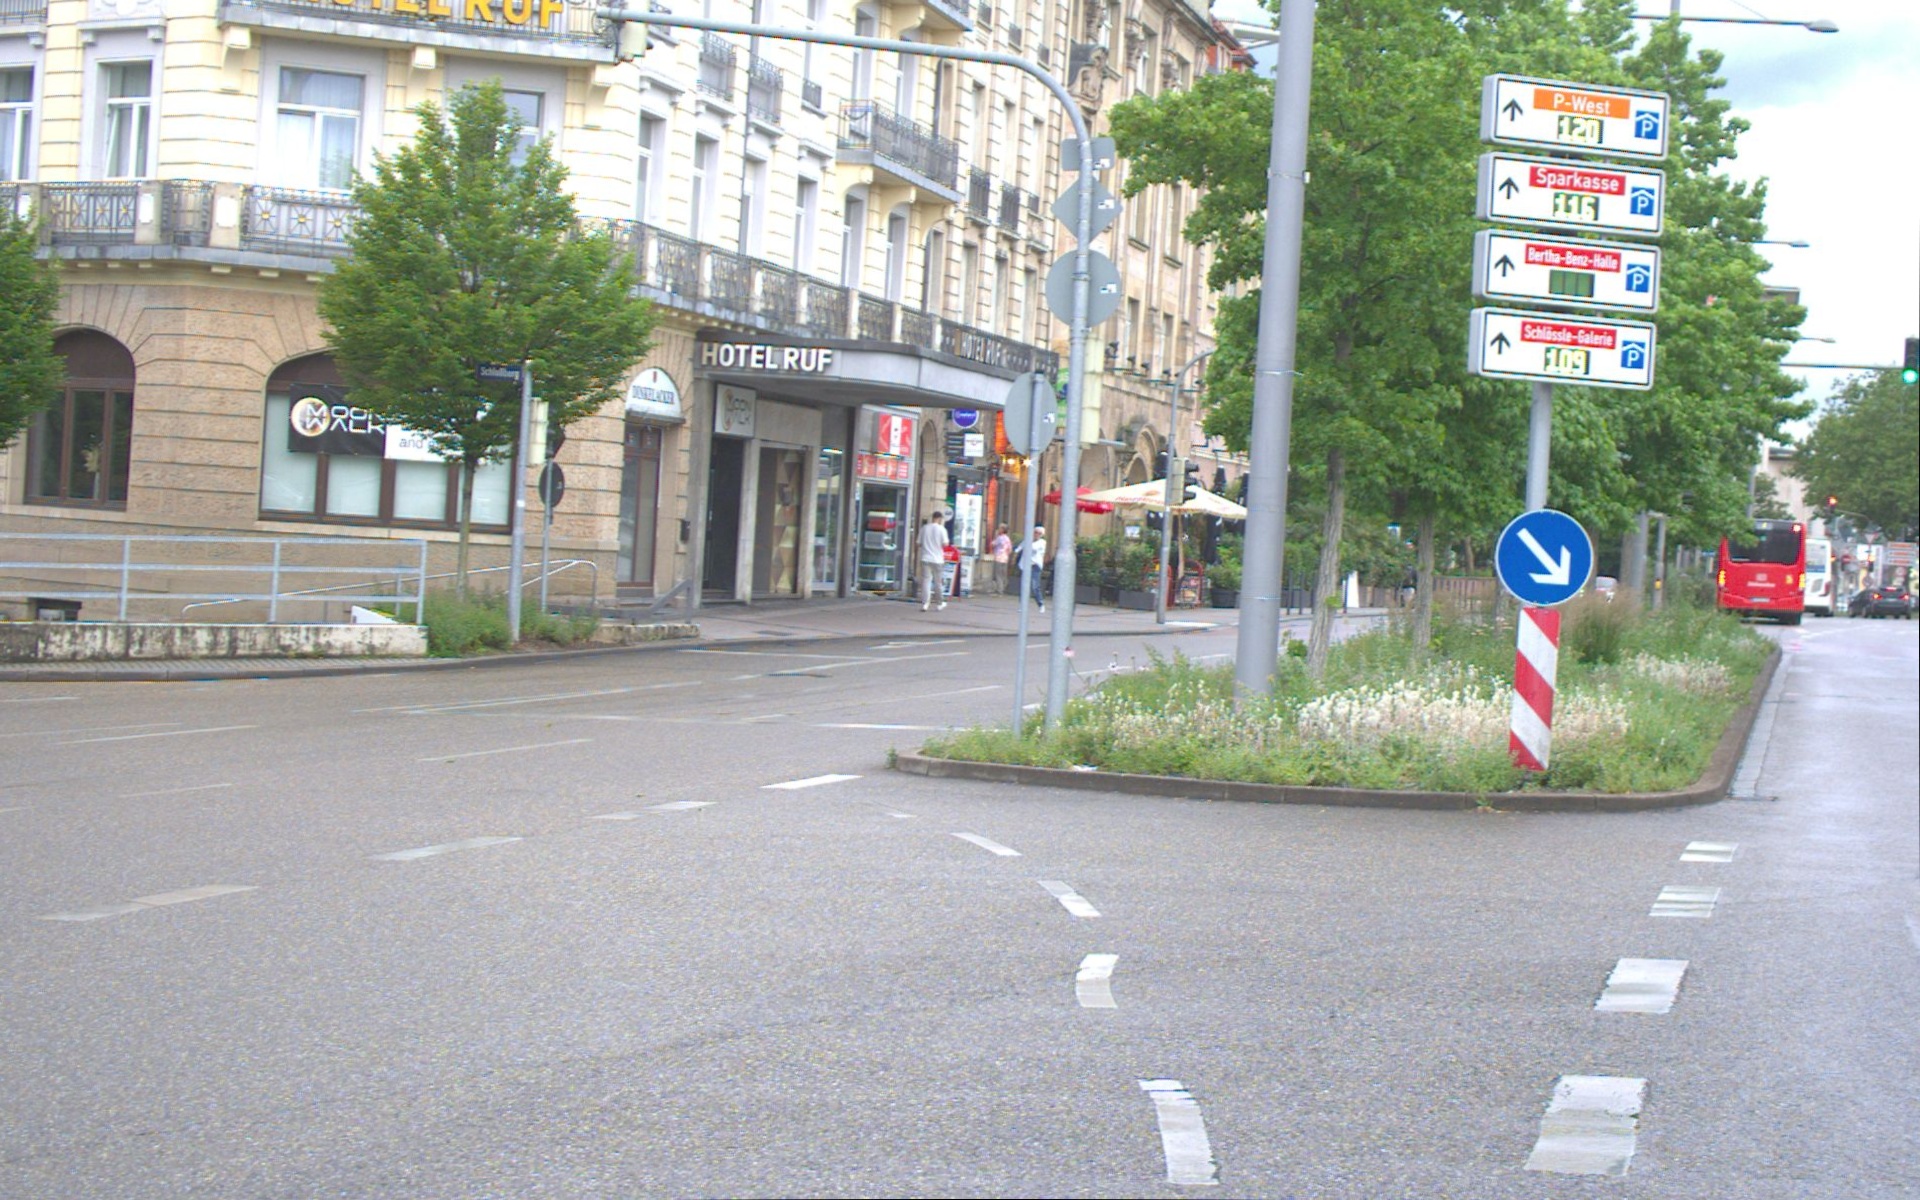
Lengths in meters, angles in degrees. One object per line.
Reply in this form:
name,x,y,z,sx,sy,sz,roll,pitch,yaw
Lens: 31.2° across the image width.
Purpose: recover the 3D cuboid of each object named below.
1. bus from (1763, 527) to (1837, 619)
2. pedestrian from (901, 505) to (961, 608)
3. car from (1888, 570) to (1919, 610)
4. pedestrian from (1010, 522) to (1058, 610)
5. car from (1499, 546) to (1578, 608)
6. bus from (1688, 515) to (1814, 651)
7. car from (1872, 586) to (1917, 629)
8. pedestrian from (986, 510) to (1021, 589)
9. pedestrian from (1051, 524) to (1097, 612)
bus,35.648,-1.103,146.134,2.807,3.734,10.439,1,0,13
pedestrian,-0.513,-0.778,61.275,0.880,1.806,0.750,1,0,15
car,49.272,-0.512,178.652,1.995,2.007,3.997,1,0,15
pedestrian,1.415,-0.654,65.668,0.682,1.658,0.806,1,0,18
car,19.451,-0.746,115.463,1.995,2.007,4.997,1,0,16
bus,24.627,-0.513,106.884,3.547,3.966,11.164,1,0,13
car,44.566,0.349,164.021,1.995,2.007,3.997,1,0,15
pedestrian,0.931,-1.081,73.753,0.667,1.658,0.536,1,0,6
pedestrian,2.173,-0.611,65.405,0.682,1.658,0.806,1,0,15
